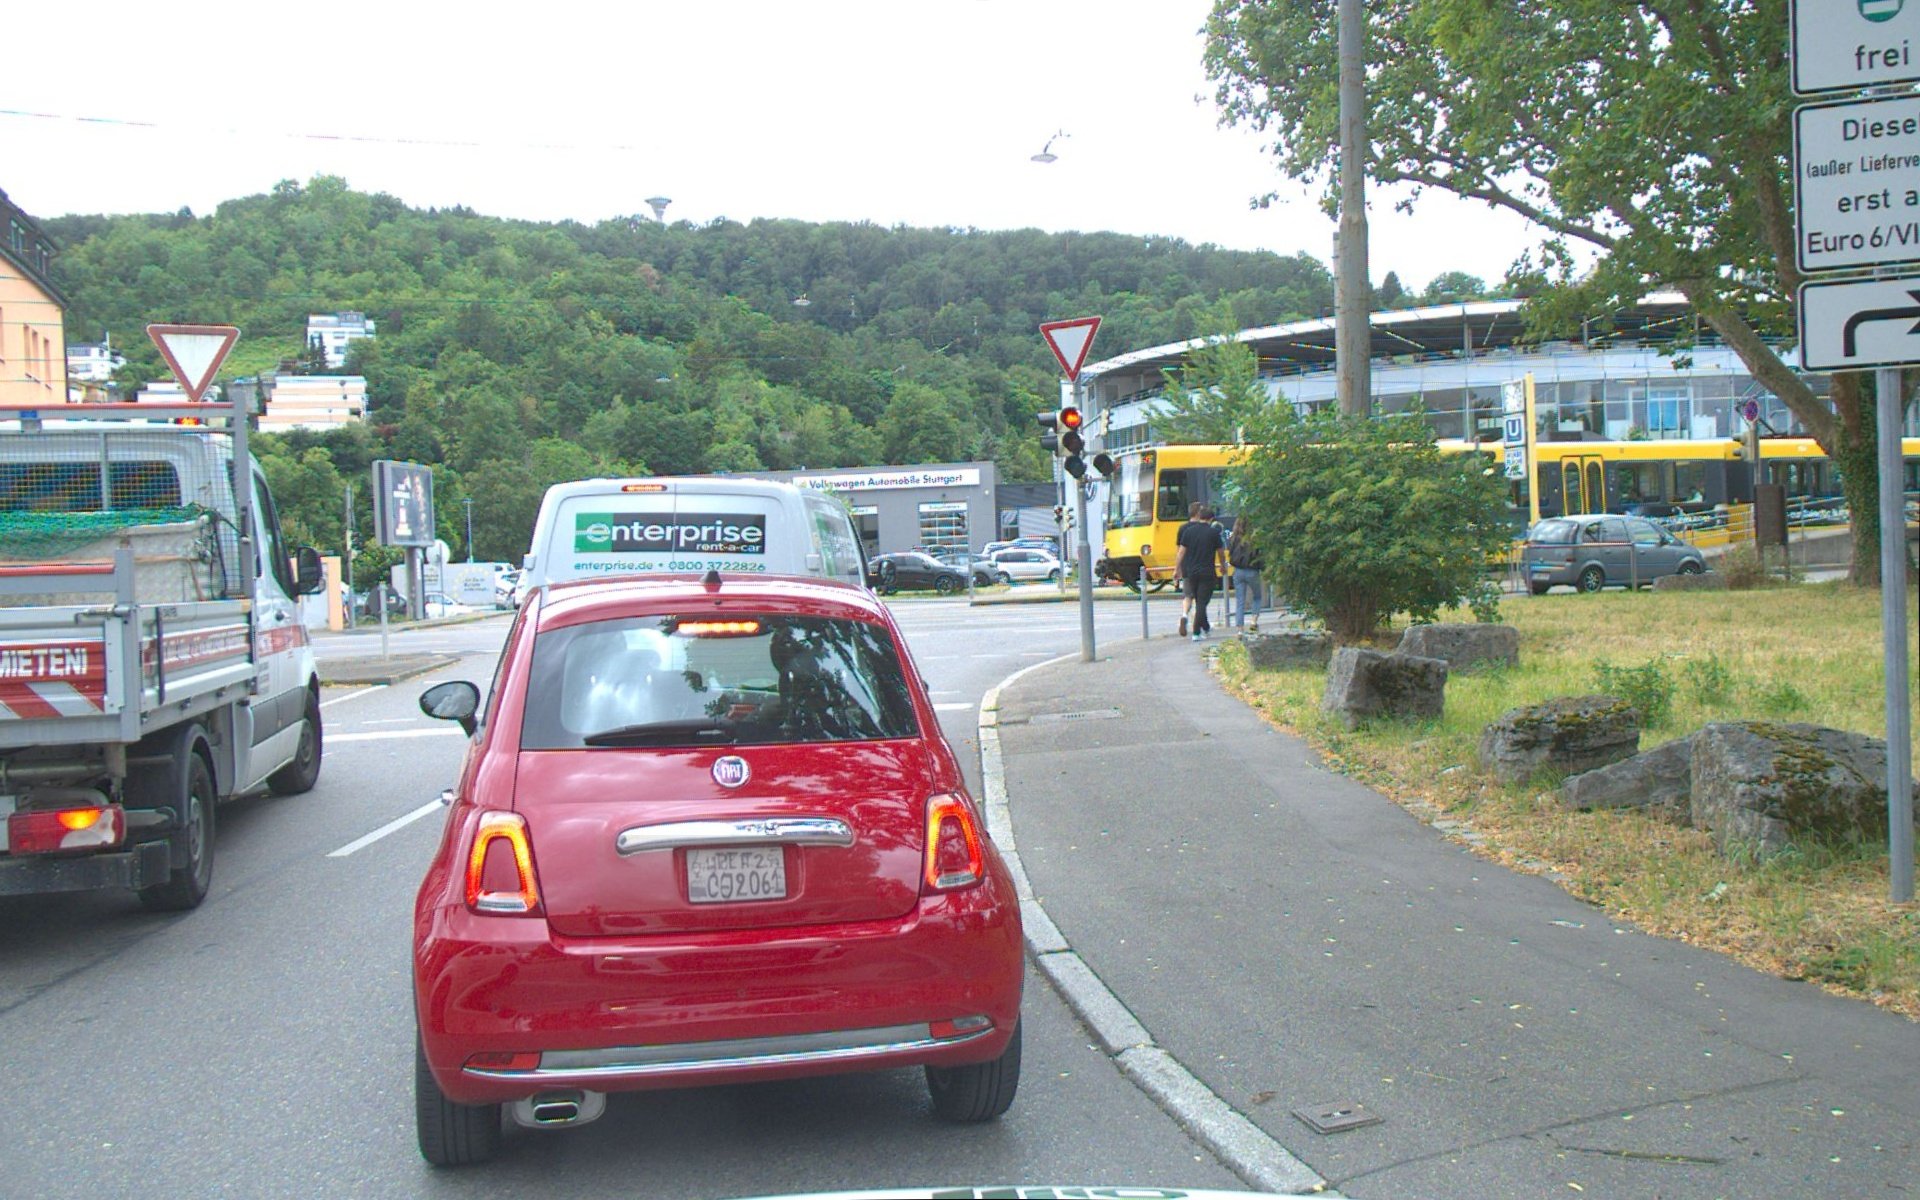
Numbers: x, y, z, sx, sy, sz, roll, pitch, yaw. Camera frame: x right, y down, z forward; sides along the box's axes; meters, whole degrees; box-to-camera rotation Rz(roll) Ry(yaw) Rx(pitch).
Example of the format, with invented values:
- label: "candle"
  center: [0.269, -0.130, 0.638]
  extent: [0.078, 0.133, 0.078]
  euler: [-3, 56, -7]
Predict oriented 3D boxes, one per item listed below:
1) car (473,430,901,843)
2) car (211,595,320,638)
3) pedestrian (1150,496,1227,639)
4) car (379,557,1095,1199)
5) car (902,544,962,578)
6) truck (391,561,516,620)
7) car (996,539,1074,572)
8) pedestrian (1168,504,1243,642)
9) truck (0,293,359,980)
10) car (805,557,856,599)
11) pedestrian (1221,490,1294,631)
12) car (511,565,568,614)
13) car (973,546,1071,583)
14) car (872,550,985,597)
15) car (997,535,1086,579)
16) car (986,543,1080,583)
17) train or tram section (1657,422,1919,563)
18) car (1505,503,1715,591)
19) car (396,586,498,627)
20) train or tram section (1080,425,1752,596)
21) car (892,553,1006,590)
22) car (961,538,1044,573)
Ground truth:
- label: "car"
  center: [-1.565, 0.138, 11.350]
  extent: [1.948, 2.143, 4.763]
  euler: [-3, 1, 1]
- label: "car"
  center: [-29.473, 0.666, 70.277]
  extent: [4.146, 1.560, 1.763]
  euler: [-3, 2, -23]
- label: "pedestrian"
  center: [3.094, -0.442, 22.356]
  extent: [0.681, 1.889, 0.786]
  euler: [-2, 1, 34]
- label: "car"
  center: [-0.813, 0.636, 5.509]
  extent: [1.610, 1.482, 3.421]
  euler: [-2, 1, -12]
- label: "car"
  center: [-1.681, -2.352, 99.361]
  extent: [1.954, 1.847, 3.997]
  euler: [-2, 2, 26]
- label: "truck"
  center: [-23.180, -0.473, 75.795]
  extent: [5.127, 2.434, 1.981]
  euler: [-3, 2, -29]
- label: "car"
  center: [4.580, -2.715, 101.196]
  extent: [4.696, 1.834, 1.776]
  euler: [-2, 1, 2]
- label: "pedestrian"
  center: [3.225, -0.359, 21.681]
  extent: [0.680, 1.744, 0.787]
  euler: [-2, 1, 29]
- label: "truck"
  center: [-4.820, 0.134, 8.633]
  extent: [2.381, 2.439, 6.008]
  euler: [-3, 1, -14]
- label: "car"
  center: [-6.135, -1.076, 78.748]
  extent: [1.952, 1.847, 4.001]
  euler: [-2, 2, 1]
- label: "pedestrian"
  center: [3.863, -0.513, 21.447]
  extent: [0.679, 1.770, 0.788]
  euler: [-2, 1, 26]
- label: "car"
  center: [-17.295, -0.462, 68.140]
  extent: [1.826, 1.849, 4.393]
  euler: [-3, 2, -9]
- label: "car"
  center: [3.053, -1.742, 81.130]
  extent: [4.696, 1.560, 1.776]
  euler: [-2, 1, 2]
- label: "car"
  center: [-1.143, -0.990, 61.370]
  extent: [3.787, 1.526, 1.777]
  euler: [-2, 1, 16]
- label: "car"
  center: [4.416, -2.336, 89.612]
  extent: [4.696, 2.194, 2.234]
  euler: [-2, 1, 2]
- label: "car"
  center: [3.753, -1.898, 84.686]
  extent: [4.696, 1.834, 1.776]
  euler: [-2, 1, 2]
- label: "train or tram section"
  center: [29.487, -3.398, 50.166]
  extent: [18.859, 3.729, 3.254]
  euler: [-3, 2, -24]
- label: "car"
  center: [13.350, -1.087, 34.000]
  extent: [3.822, 1.611, 1.791]
  euler: [-3, 2, -21]
- label: "car"
  center: [-22.487, 0.281, 72.634]
  extent: [4.135, 1.560, 1.768]
  euler: [-3, 2, -16]
- label: "train or tram section"
  center: [12.251, -2.441, 42.699]
  extent: [18.859, 3.729, 3.254]
  euler: [-3, 2, -24]
- label: "car"
  center: [-0.456, -1.213, 70.624]
  extent: [4.572, 1.351, 1.777]
  euler: [-2, 1, 13]
- label: "car"
  center: [2.465, -2.592, 96.269]
  extent: [4.696, 1.834, 1.776]
  euler: [-2, 1, 2]
